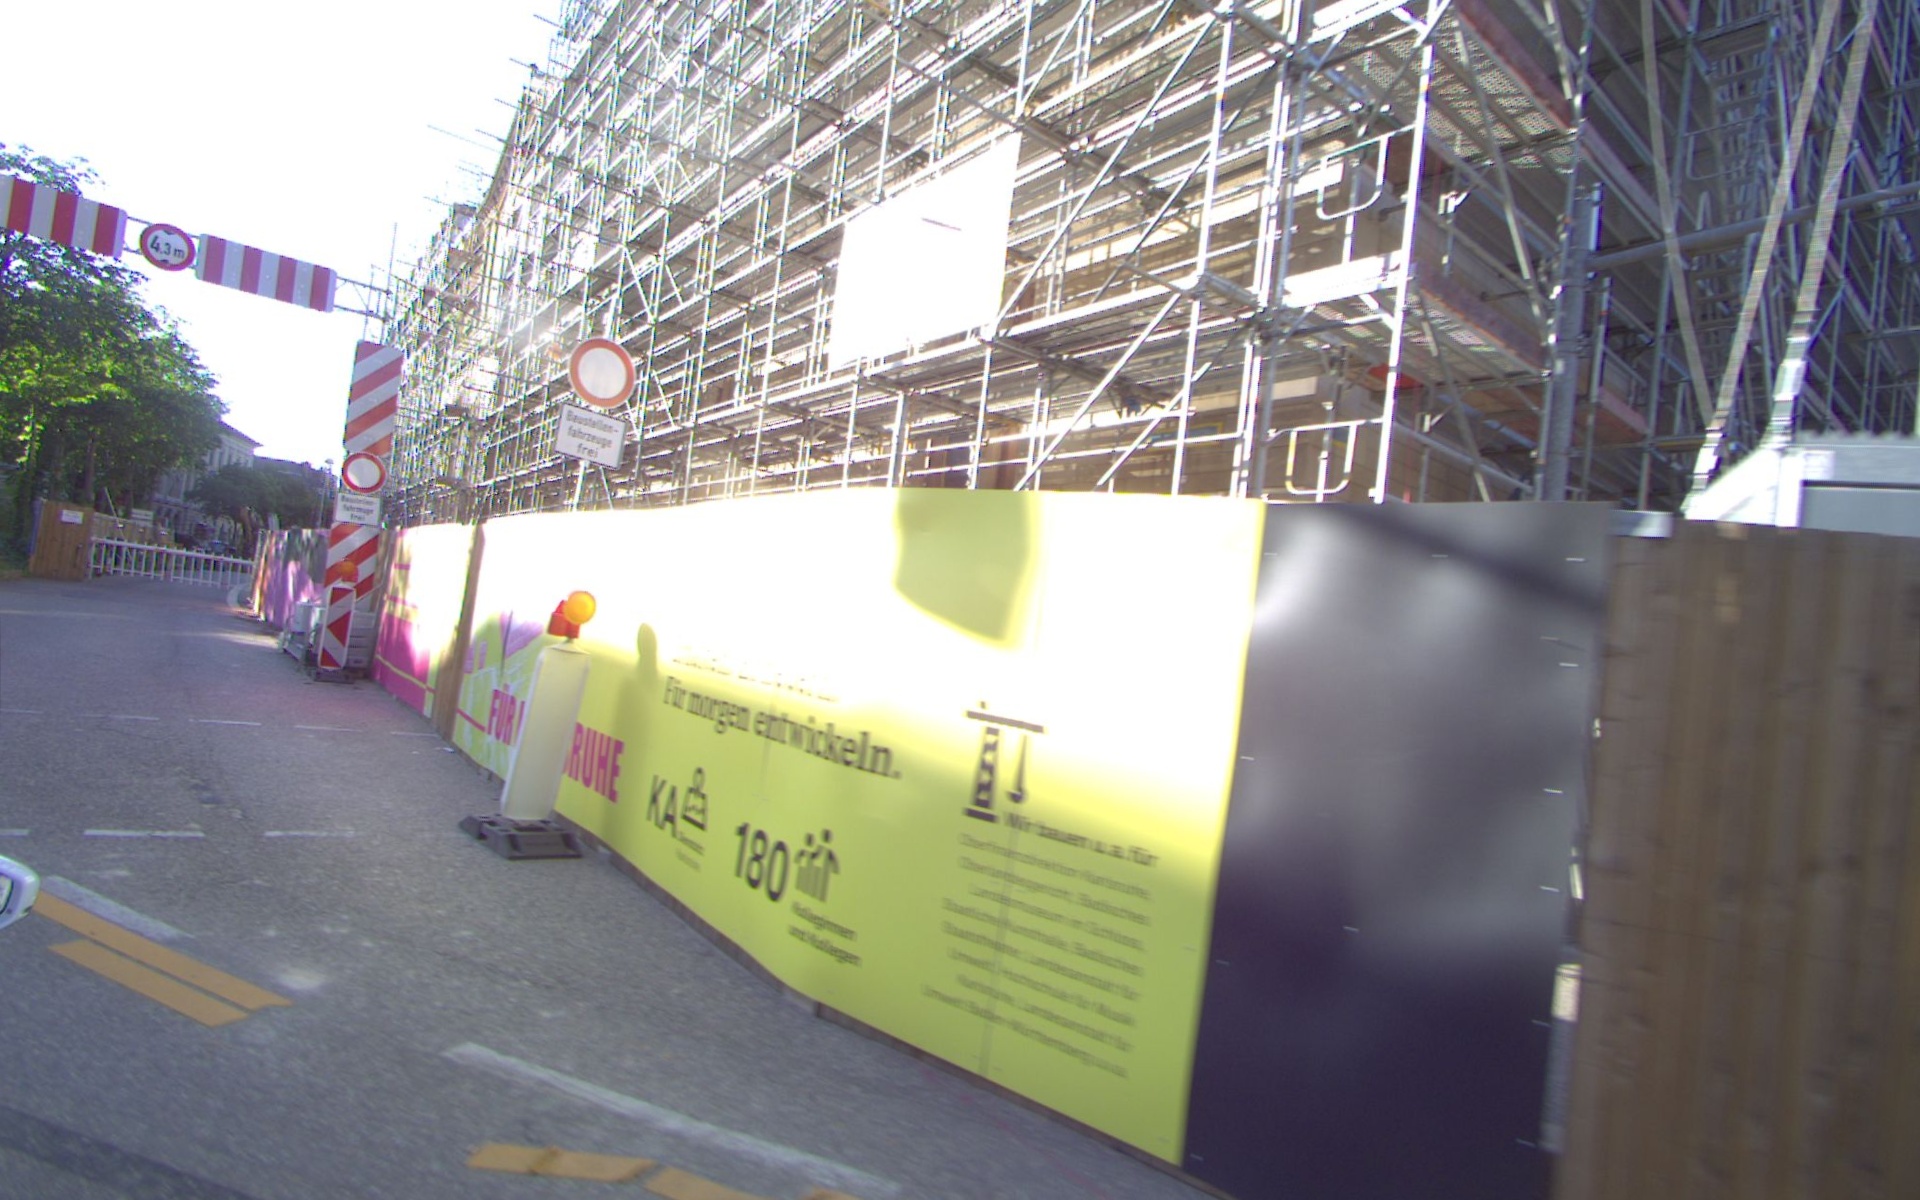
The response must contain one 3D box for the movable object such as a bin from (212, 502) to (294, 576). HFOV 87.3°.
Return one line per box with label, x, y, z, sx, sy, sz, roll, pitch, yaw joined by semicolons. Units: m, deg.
movable object such as a bin;-50.394;-4.200;71.975;3.278;4.593;7.856;6;-2;-27
